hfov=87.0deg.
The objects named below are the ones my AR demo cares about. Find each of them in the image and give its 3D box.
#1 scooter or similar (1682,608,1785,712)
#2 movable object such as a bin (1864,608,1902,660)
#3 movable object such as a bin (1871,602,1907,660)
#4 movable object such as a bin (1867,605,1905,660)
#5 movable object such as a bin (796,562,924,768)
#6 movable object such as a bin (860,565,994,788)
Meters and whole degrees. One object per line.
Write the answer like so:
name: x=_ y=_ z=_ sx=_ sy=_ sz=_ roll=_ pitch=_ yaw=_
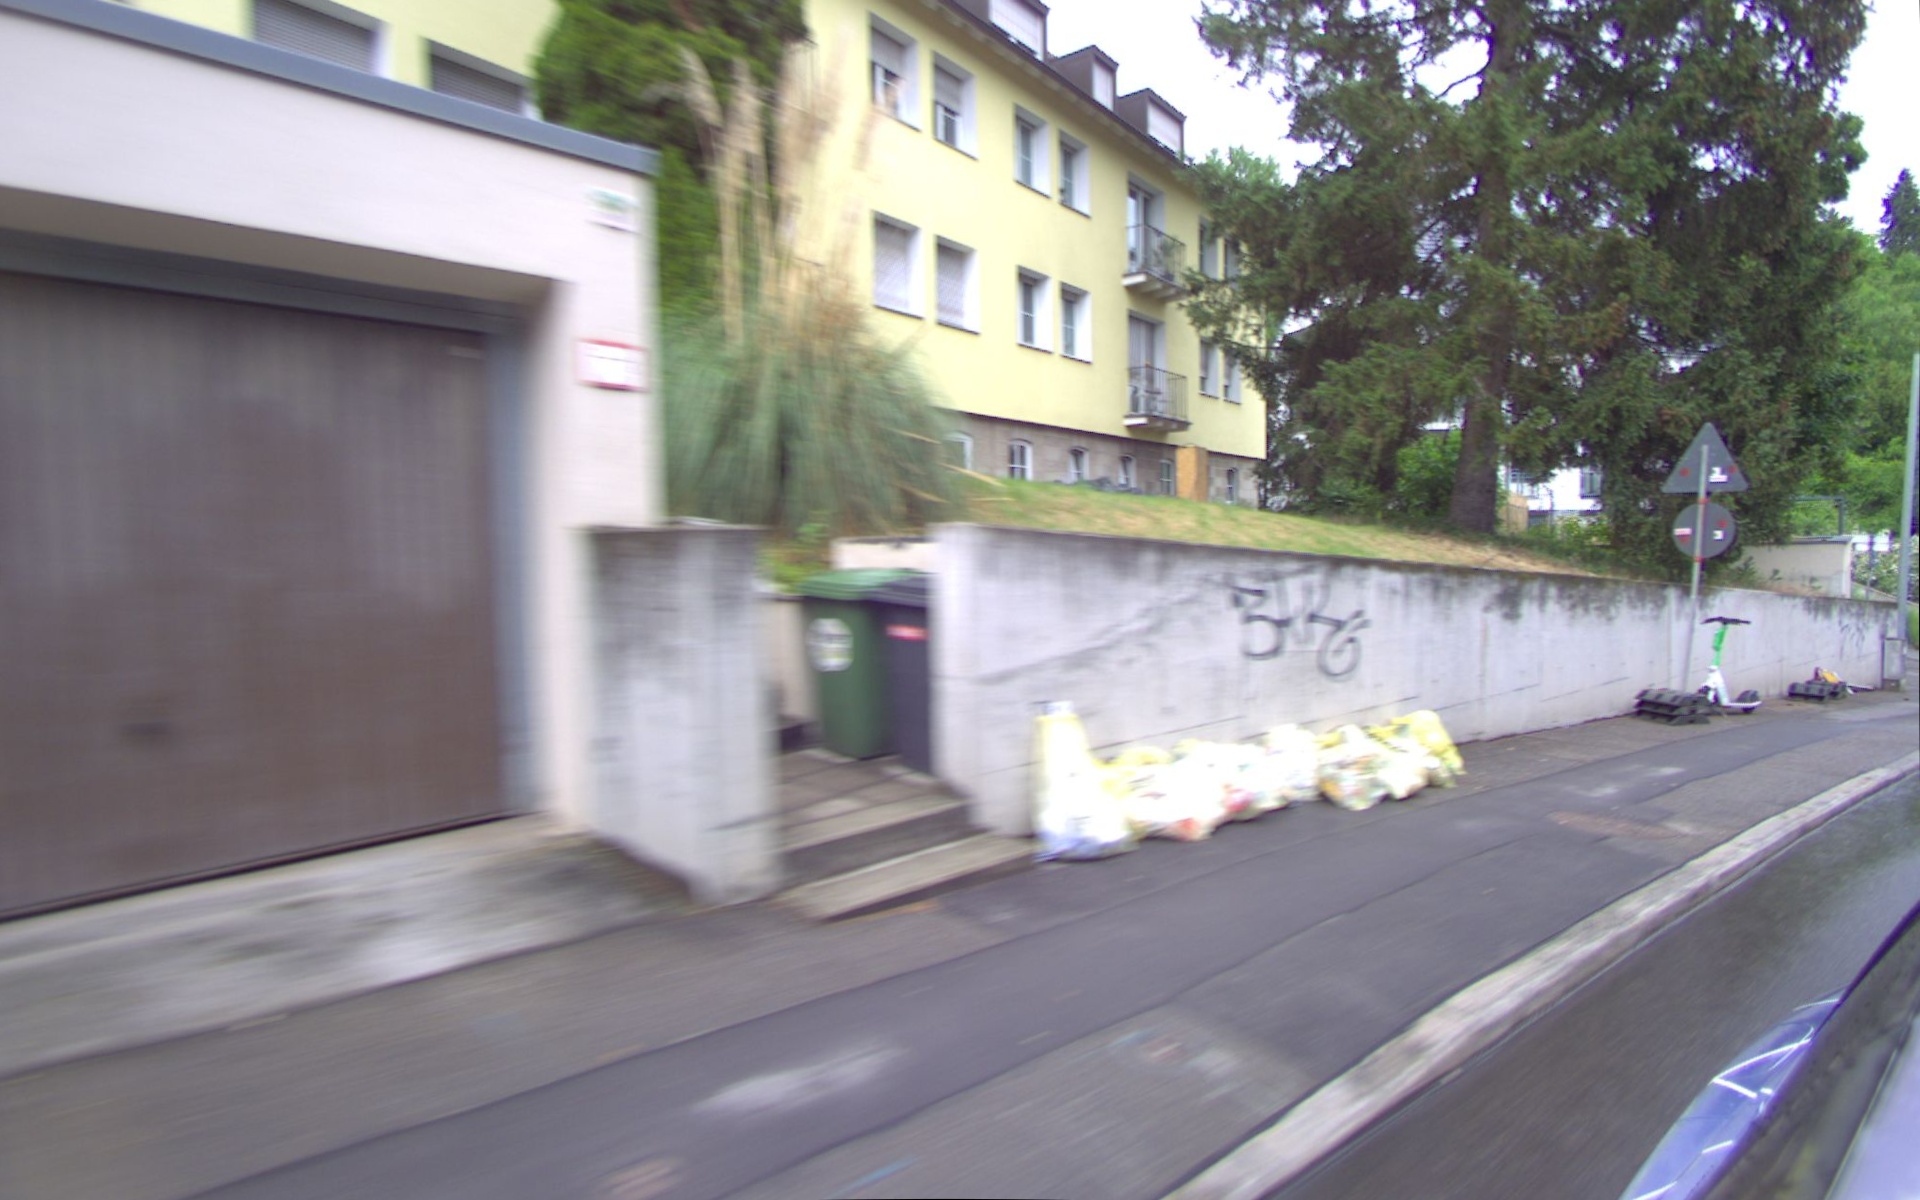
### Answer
scooter or similar: x=9.290 y=0.688 z=12.143 sx=1.345 sy=1.146 sz=0.600 roll=1 pitch=2 yaw=-37
movable object such as a bin: x=22.041 y=0.806 z=24.167 sx=0.435 sy=1.190 sz=0.574 roll=1 pitch=2 yaw=-41
movable object such as a bin: x=22.788 y=0.745 z=24.826 sx=0.455 sy=1.367 sz=0.554 roll=1 pitch=2 yaw=-41
movable object such as a bin: x=22.431 y=0.770 z=24.512 sx=0.445 sy=1.283 sz=0.564 roll=1 pitch=2 yaw=-41
movable object such as a bin: x=-0.574 y=0.348 z=5.810 sx=0.511 sy=1.105 sz=0.479 roll=1 pitch=2 yaw=-42
movable object such as a bin: x=-0.180 y=0.380 z=5.423 sx=0.484 sy=1.105 sz=0.482 roll=1 pitch=2 yaw=-42
